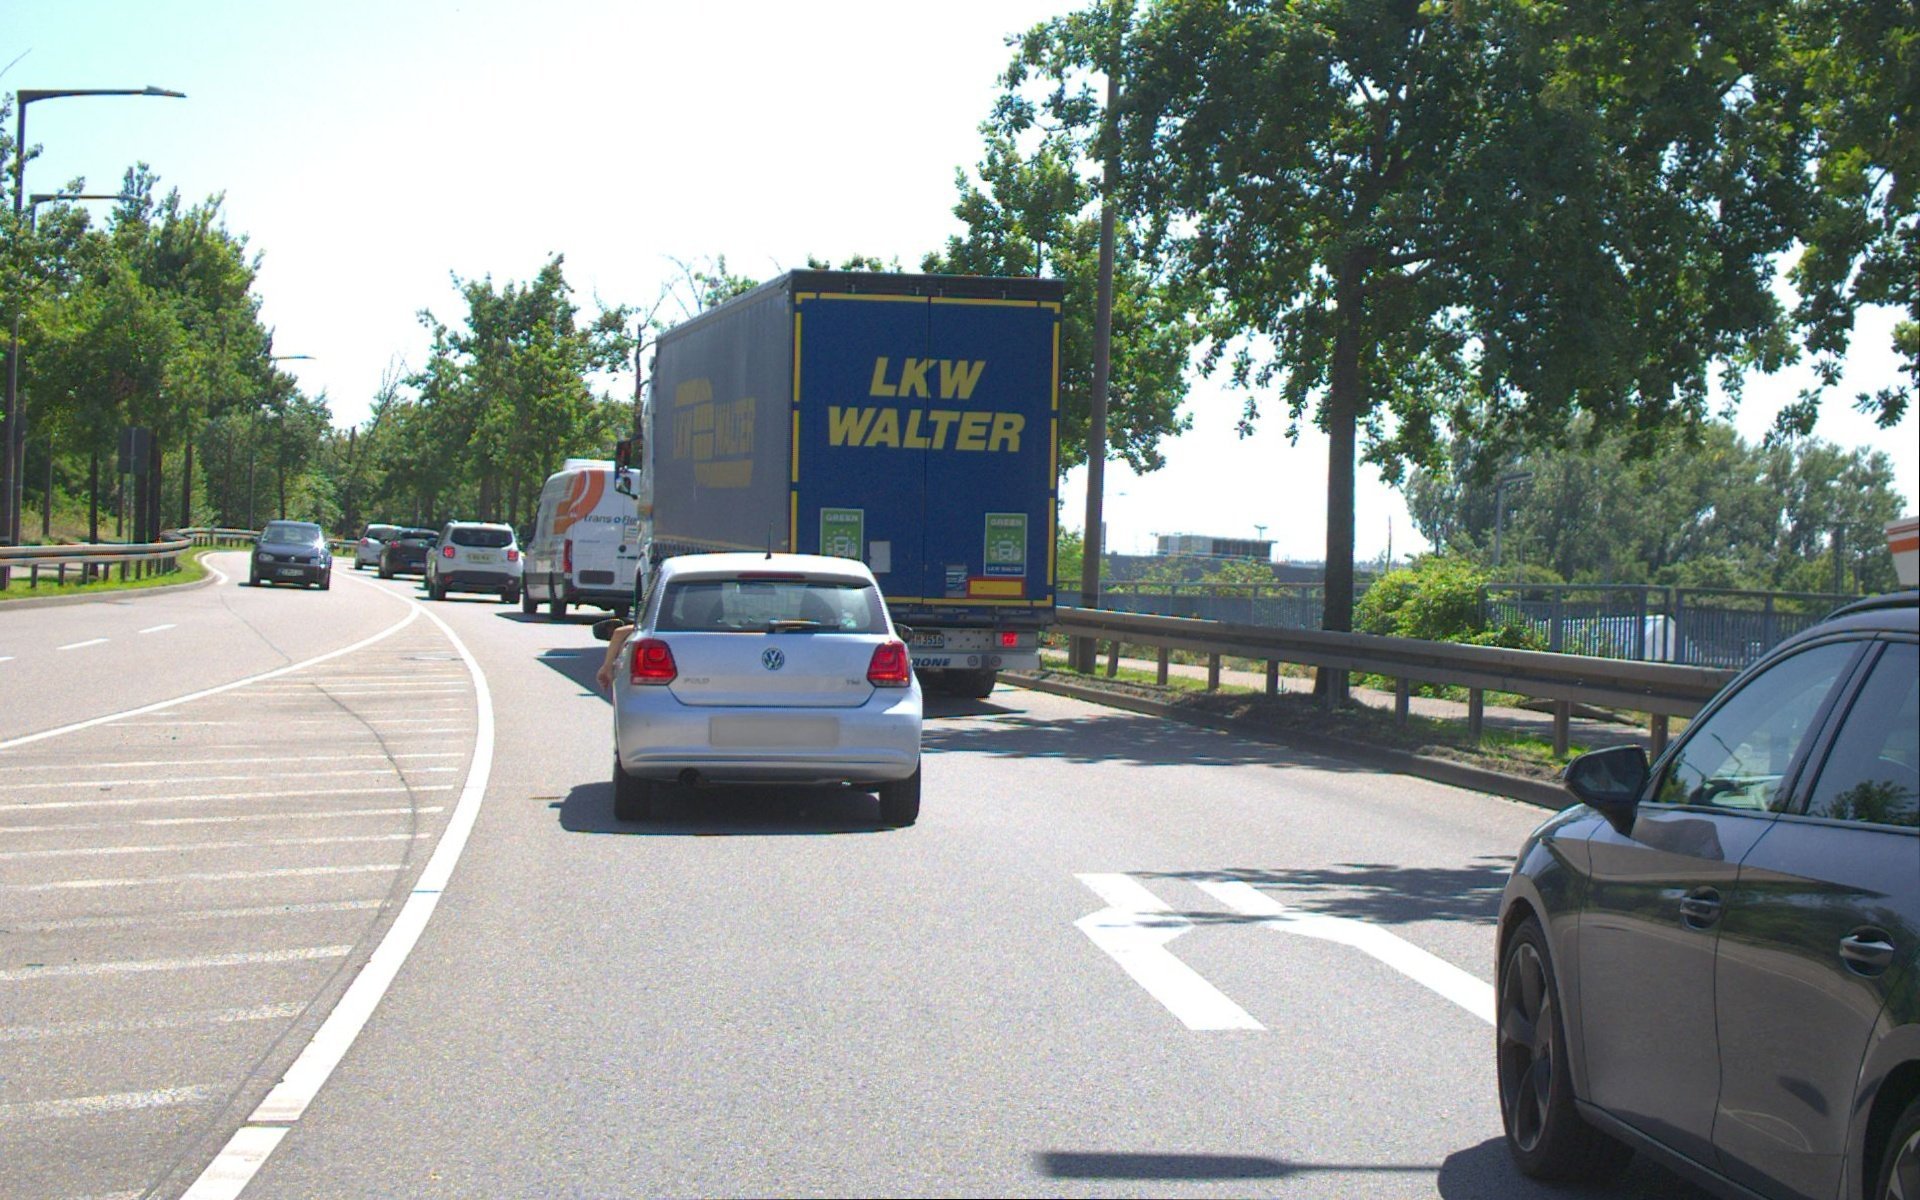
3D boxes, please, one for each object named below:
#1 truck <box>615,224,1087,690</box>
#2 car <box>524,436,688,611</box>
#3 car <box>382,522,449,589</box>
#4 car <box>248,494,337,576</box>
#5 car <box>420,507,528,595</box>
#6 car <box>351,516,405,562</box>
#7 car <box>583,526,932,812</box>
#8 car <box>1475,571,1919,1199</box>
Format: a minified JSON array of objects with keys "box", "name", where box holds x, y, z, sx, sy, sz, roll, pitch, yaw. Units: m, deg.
[{"box":[-1.798,-1.320,39.754,2.832,4.184,16.478,2,0,-11],"name":"truck"},{"box":[-6.393,-1.352,61.382,2.175,2.890,6.360,2,1,-12],"name":"car"},{"box":[-15.133,-1.210,95.451,1.721,1.720,4.001,2,-1,-10],"name":"car"},{"box":[-14.662,-1.449,75.668,1.678,1.665,3.756,1,2,-8],"name":"car"},{"box":[-10.350,-1.011,72.987,1.903,1.712,4.224,2,-1,-12],"name":"car"},{"box":[-18.510,-1.923,109.376,1.607,1.355,3.663,2,0,-10],"name":"car"},{"box":[-1.238,0.382,19.599,1.645,1.434,3.537,2,-1,-8],"name":"car"},{"box":[2.269,0.718,6.545,1.604,1.451,4.235,2,-1,-4],"name":"car"}]
